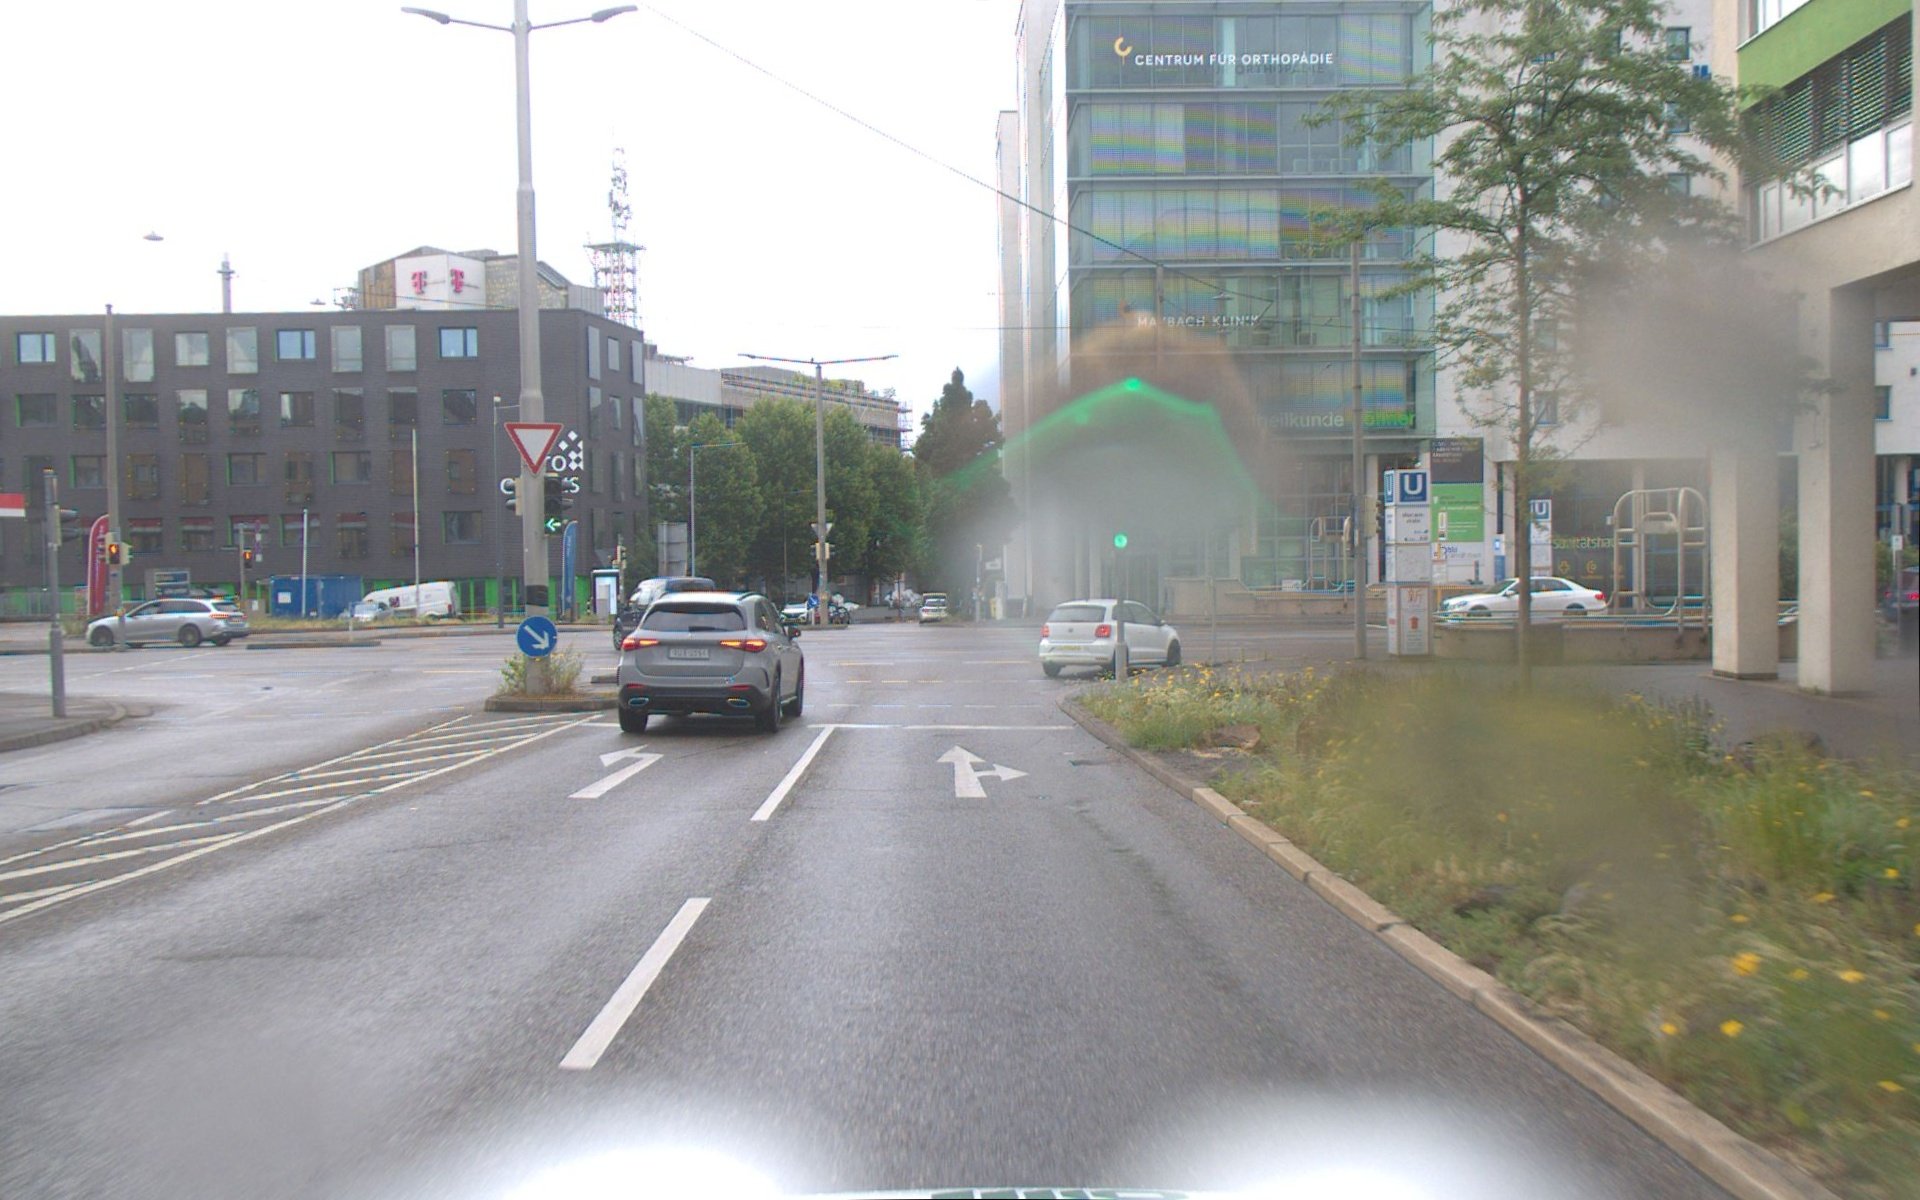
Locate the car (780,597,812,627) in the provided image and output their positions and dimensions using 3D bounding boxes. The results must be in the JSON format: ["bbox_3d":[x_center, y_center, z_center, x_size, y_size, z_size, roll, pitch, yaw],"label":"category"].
[{"bbox_3d":[-11.745,0.869,118.298,1.953,2.049,3.998,1,-1,-2],"label":"car"}]

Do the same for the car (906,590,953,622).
[{"bbox_3d":[-1.728,0.366,93.305,1.958,1.747,3.989,1,-1,-11],"label":"car"}]

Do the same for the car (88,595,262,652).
[{"bbox_3d":[-23.924,0.717,50.485,4.381,1.606,2.001,1,-1,7],"label":"car"}]

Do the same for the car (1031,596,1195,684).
[{"bbox_3d":[3.087,0.741,32.854,1.642,1.499,3.767,1,2,34],"label":"car"}]

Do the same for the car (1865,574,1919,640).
[{"bbox_3d":[25.491,0.134,42.068,3.911,1.601,1.997,-1,1,-7],"label":"car"}]

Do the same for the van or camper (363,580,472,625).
[{"bbox_3d":[-30.794,0.143,94.048,5.222,2.410,2.738,1,-1,-2],"label":"van or camper"}]

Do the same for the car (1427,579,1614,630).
[{"bbox_3d":[16.302,0.119,48.221,4.848,1.411,1.822,-1,1,-3],"label":"car"}]

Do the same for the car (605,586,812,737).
[{"bbox_3d":[-3.013,0.714,20.706,1.869,1.660,4.210,1,-1,1],"label":"car"}]

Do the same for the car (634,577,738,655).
[{"bbox_3d":[-6.810,0.378,40.746,1.825,1.799,4.107,-1,0,-20],"label":"car"}]
